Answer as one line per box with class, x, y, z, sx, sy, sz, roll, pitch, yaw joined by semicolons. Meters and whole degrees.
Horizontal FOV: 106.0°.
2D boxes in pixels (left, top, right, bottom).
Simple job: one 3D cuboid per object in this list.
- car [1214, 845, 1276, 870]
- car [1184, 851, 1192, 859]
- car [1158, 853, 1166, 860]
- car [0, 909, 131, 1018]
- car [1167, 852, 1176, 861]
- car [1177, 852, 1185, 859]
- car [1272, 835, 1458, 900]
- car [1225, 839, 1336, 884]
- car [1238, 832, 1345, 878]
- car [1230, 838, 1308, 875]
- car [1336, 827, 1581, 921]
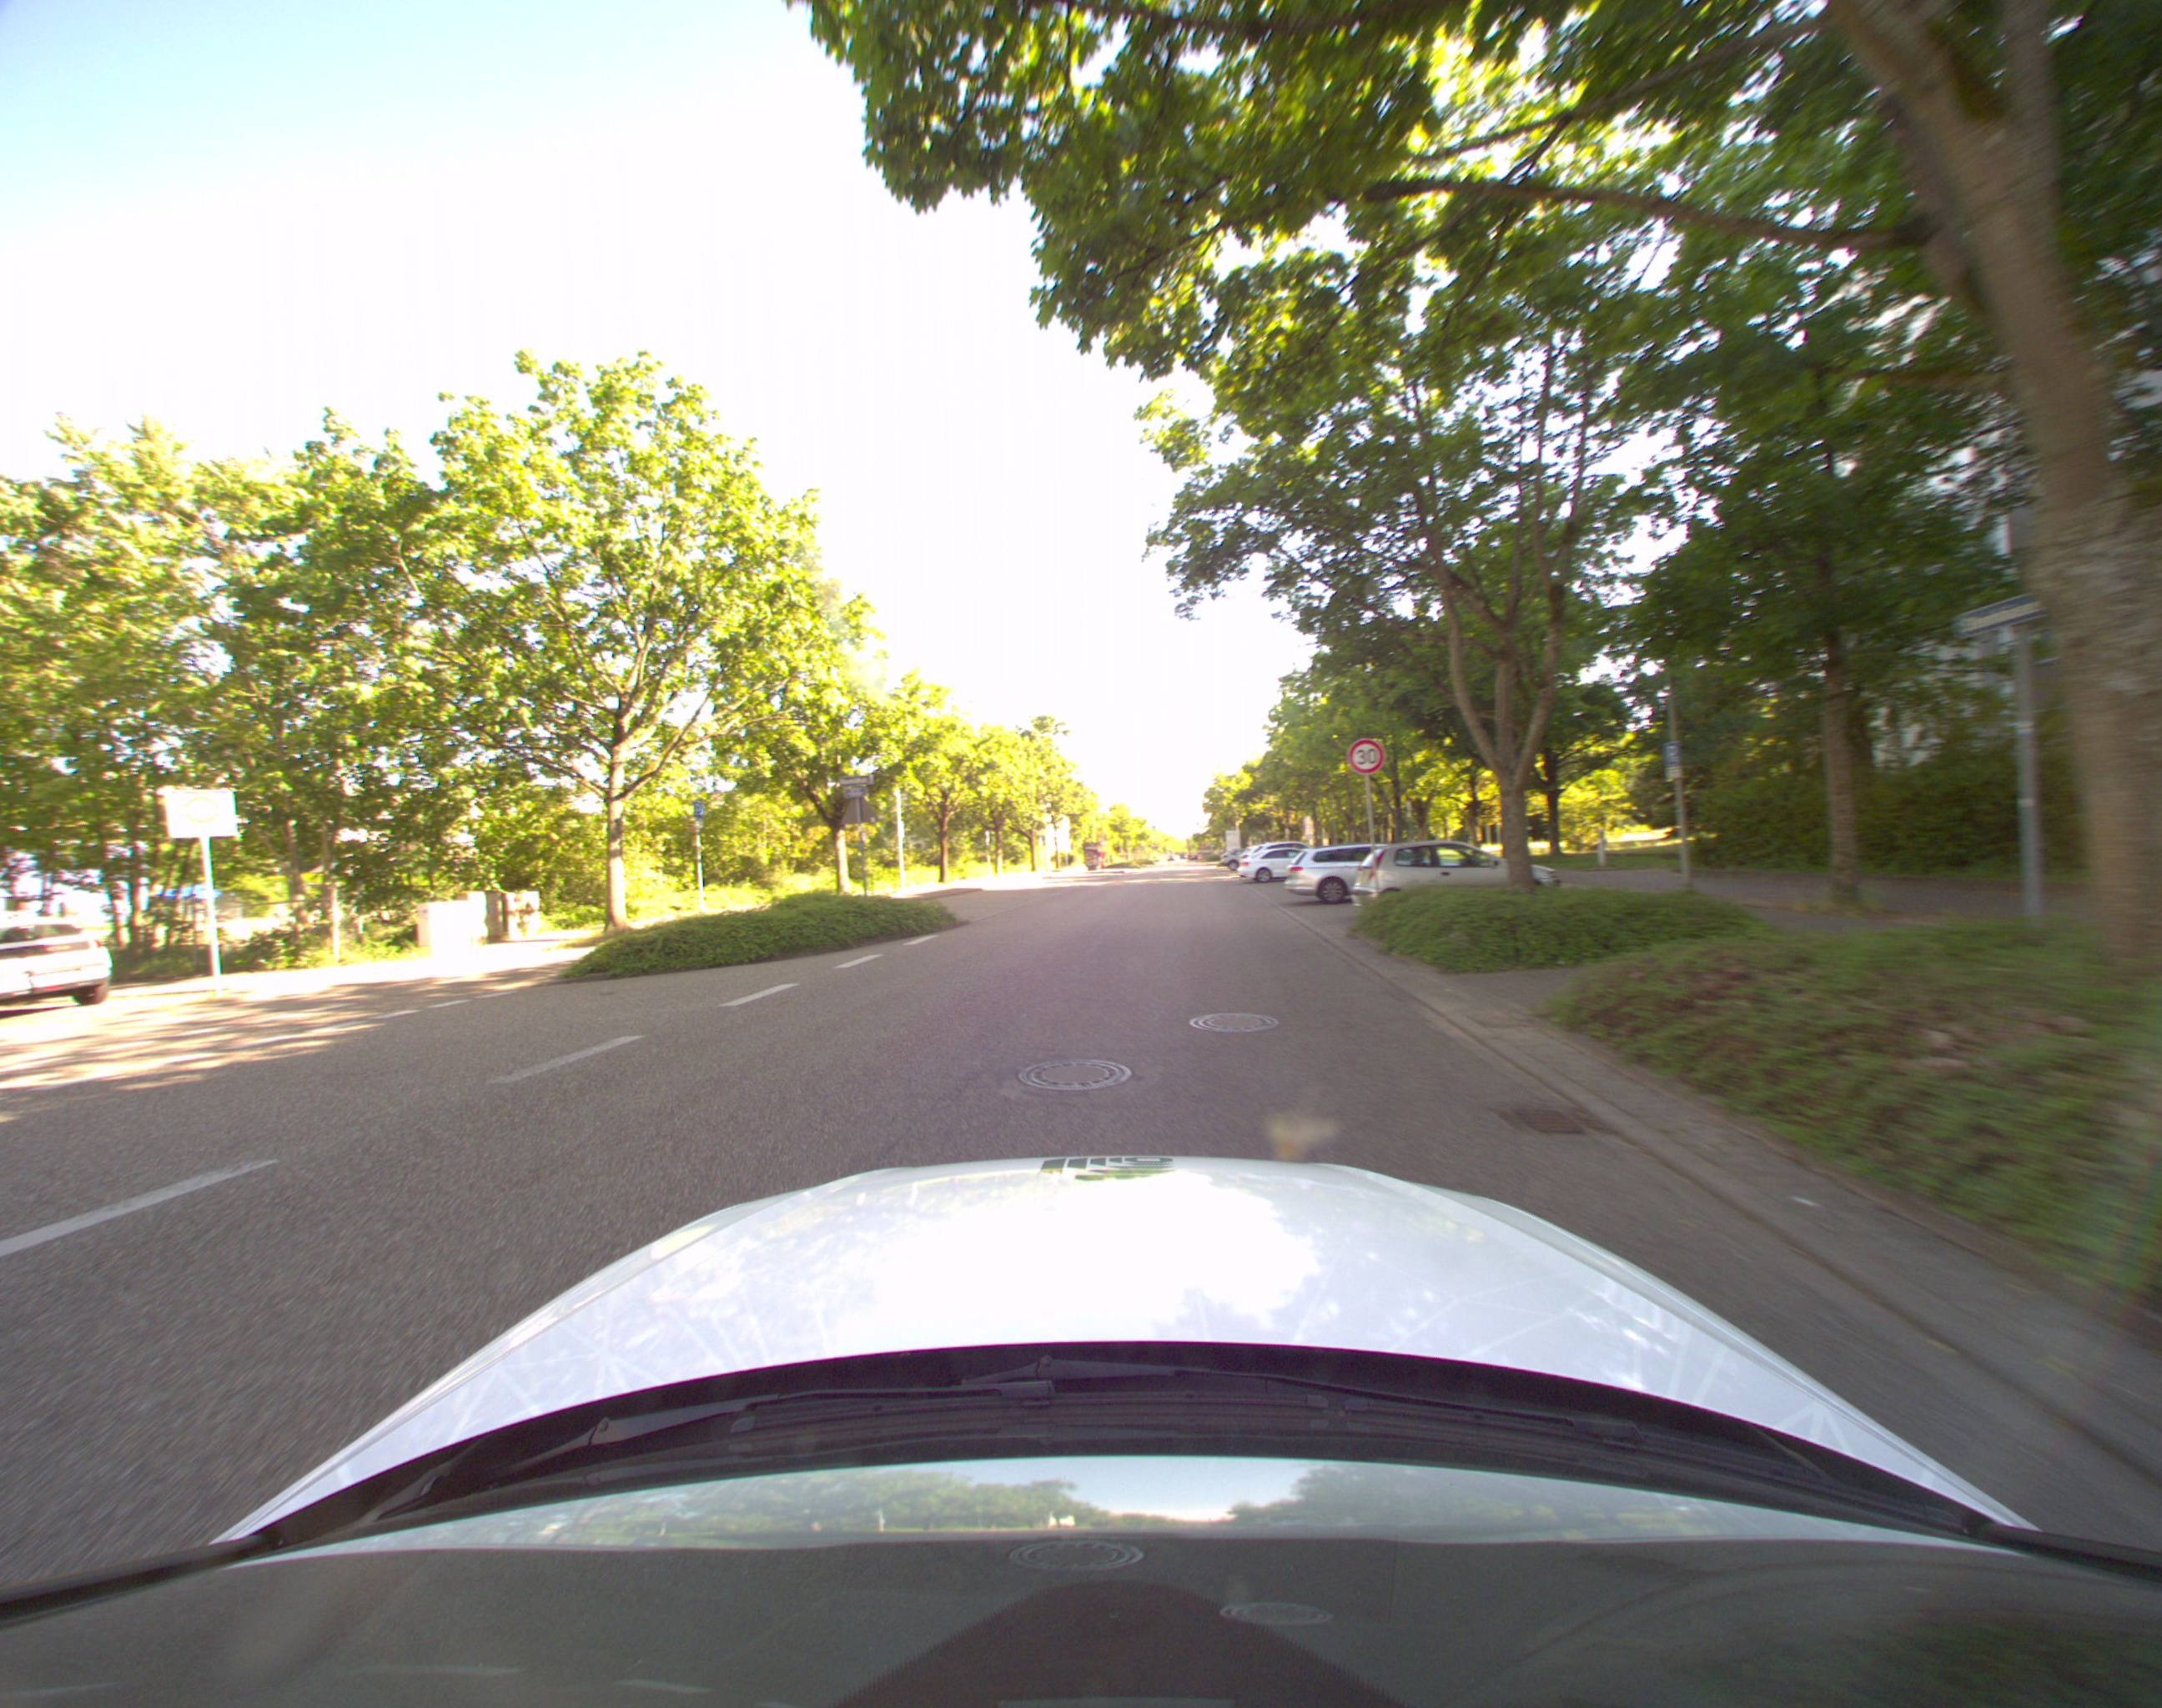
car;11.797;0.253;58.911;4.142;1.428;2.004;-5;-1;7
car;25.718;0.224;195.910;1.982;2.013;4.009;-2;0;8
car;21.368;0.639;214.540;1.982;1.802;4.009;-2;0;8
car;-17.301;1.756;12.444;4.054;1.451;1.629;-4;-1;8
car;18.501;0.558;166.674;1.818;1.775;3.748;-2;0;8
car;28.260;0.466;230.162;1.982;2.013;4.009;-2;0;8
car;7.115;0.336;20.839;4.246;1.428;1.833;-2;0;11
car;8.437;0.310;34.722;4.322;1.489;1.740;-5;-1;5
car;9.588;0.033;37.310;4.414;1.647;1.819;-5;0;5
car;9.719;0.126;42.240;3.671;1.522;1.653;-5;0;5
car;7.251;0.380;15.985;3.965;1.451;1.721;-4;0;7
